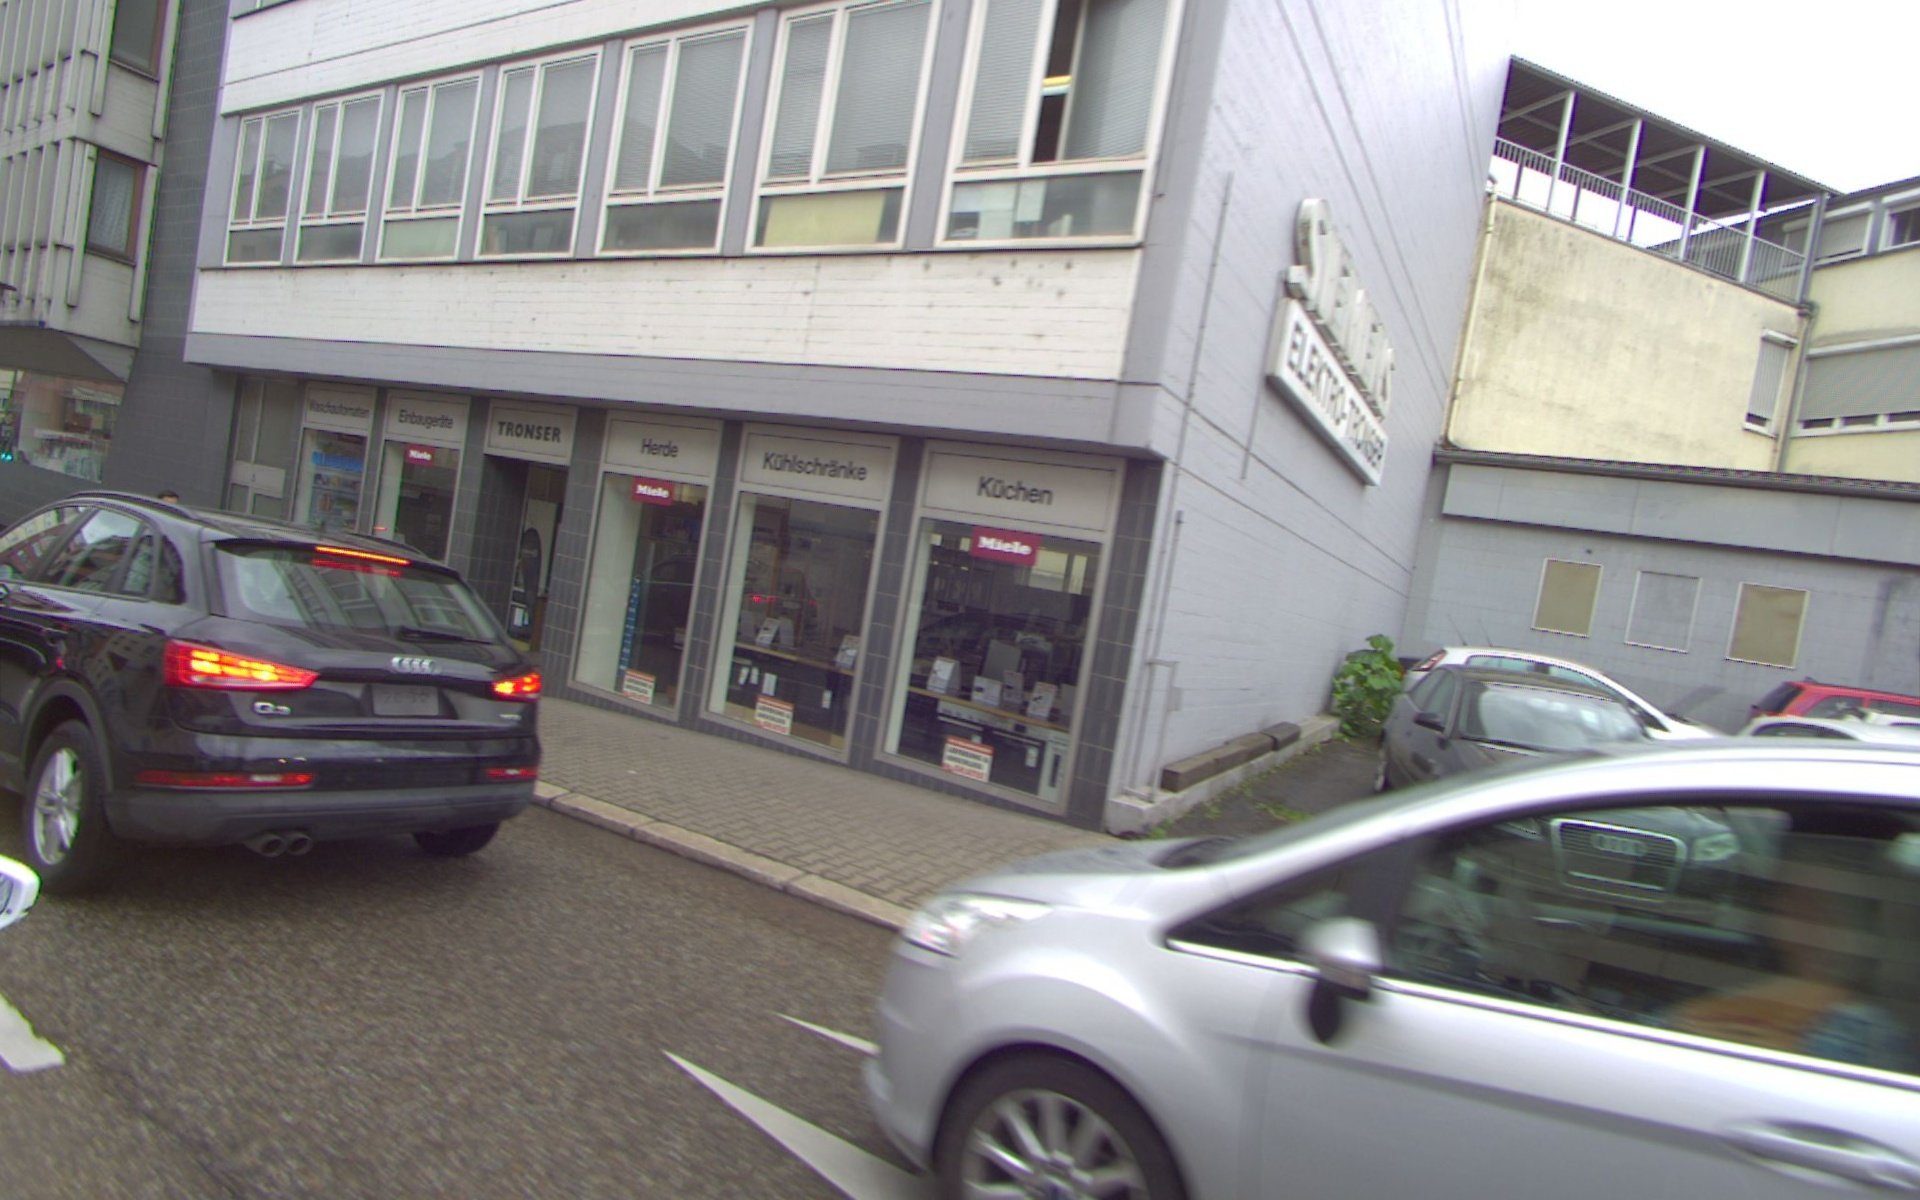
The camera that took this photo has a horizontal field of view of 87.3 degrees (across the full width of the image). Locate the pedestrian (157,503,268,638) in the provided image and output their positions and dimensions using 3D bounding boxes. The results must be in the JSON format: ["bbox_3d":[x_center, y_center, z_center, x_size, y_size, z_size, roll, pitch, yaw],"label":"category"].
[{"bbox_3d":[-9.368,-0.362,12.619,0.875,1.572,0.766,7,3,29],"label":"pedestrian"}]

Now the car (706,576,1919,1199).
[{"bbox_3d":[1.741,1.060,2.207,4.178,1.557,1.833,7,-3,28],"label":"car"}]

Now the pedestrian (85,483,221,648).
[{"bbox_3d":[-9.152,-0.392,11.413,1.102,1.728,0.784,7,3,29],"label":"pedestrian"}]

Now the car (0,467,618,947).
[{"bbox_3d":[-4.001,0.290,5.259,4.132,1.577,1.828,7,-3,32],"label":"car"}]

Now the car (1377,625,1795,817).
[{"bbox_3d":[7.352,1.307,12.178,3.884,1.542,1.788,7,2,33],"label":"car"}]

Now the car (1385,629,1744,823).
[{"bbox_3d":[8.295,1.636,14.088,3.884,1.922,1.790,7,0,33],"label":"car"}]

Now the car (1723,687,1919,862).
[{"bbox_3d":[11.680,2.195,11.925,3.884,1.751,1.790,7,0,33],"label":"car"}]

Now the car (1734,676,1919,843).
[{"bbox_3d":[13.290,2.292,13.672,4.038,1.934,1.790,7,0,33],"label":"car"}]

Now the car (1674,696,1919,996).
[{"bbox_3d":[6.698,1.630,6.727,1.730,1.548,4.002,7,0,16],"label":"car"}]

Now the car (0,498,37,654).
[{"bbox_3d":[-11.328,-0.525,10.192,3.932,1.493,1.693,7,-3,31],"label":"car"}]

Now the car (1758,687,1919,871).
[{"bbox_3d":[10.671,1.991,10.397,3.461,1.621,1.788,7,2,33],"label":"car"}]

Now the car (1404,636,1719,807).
[{"bbox_3d":[9.394,1.815,15.960,3.884,1.934,1.790,7,0,33],"label":"car"}]

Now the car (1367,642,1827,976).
[{"bbox_3d":[4.473,1.283,7.866,1.764,1.470,3.996,7,3,15],"label":"car"}]
